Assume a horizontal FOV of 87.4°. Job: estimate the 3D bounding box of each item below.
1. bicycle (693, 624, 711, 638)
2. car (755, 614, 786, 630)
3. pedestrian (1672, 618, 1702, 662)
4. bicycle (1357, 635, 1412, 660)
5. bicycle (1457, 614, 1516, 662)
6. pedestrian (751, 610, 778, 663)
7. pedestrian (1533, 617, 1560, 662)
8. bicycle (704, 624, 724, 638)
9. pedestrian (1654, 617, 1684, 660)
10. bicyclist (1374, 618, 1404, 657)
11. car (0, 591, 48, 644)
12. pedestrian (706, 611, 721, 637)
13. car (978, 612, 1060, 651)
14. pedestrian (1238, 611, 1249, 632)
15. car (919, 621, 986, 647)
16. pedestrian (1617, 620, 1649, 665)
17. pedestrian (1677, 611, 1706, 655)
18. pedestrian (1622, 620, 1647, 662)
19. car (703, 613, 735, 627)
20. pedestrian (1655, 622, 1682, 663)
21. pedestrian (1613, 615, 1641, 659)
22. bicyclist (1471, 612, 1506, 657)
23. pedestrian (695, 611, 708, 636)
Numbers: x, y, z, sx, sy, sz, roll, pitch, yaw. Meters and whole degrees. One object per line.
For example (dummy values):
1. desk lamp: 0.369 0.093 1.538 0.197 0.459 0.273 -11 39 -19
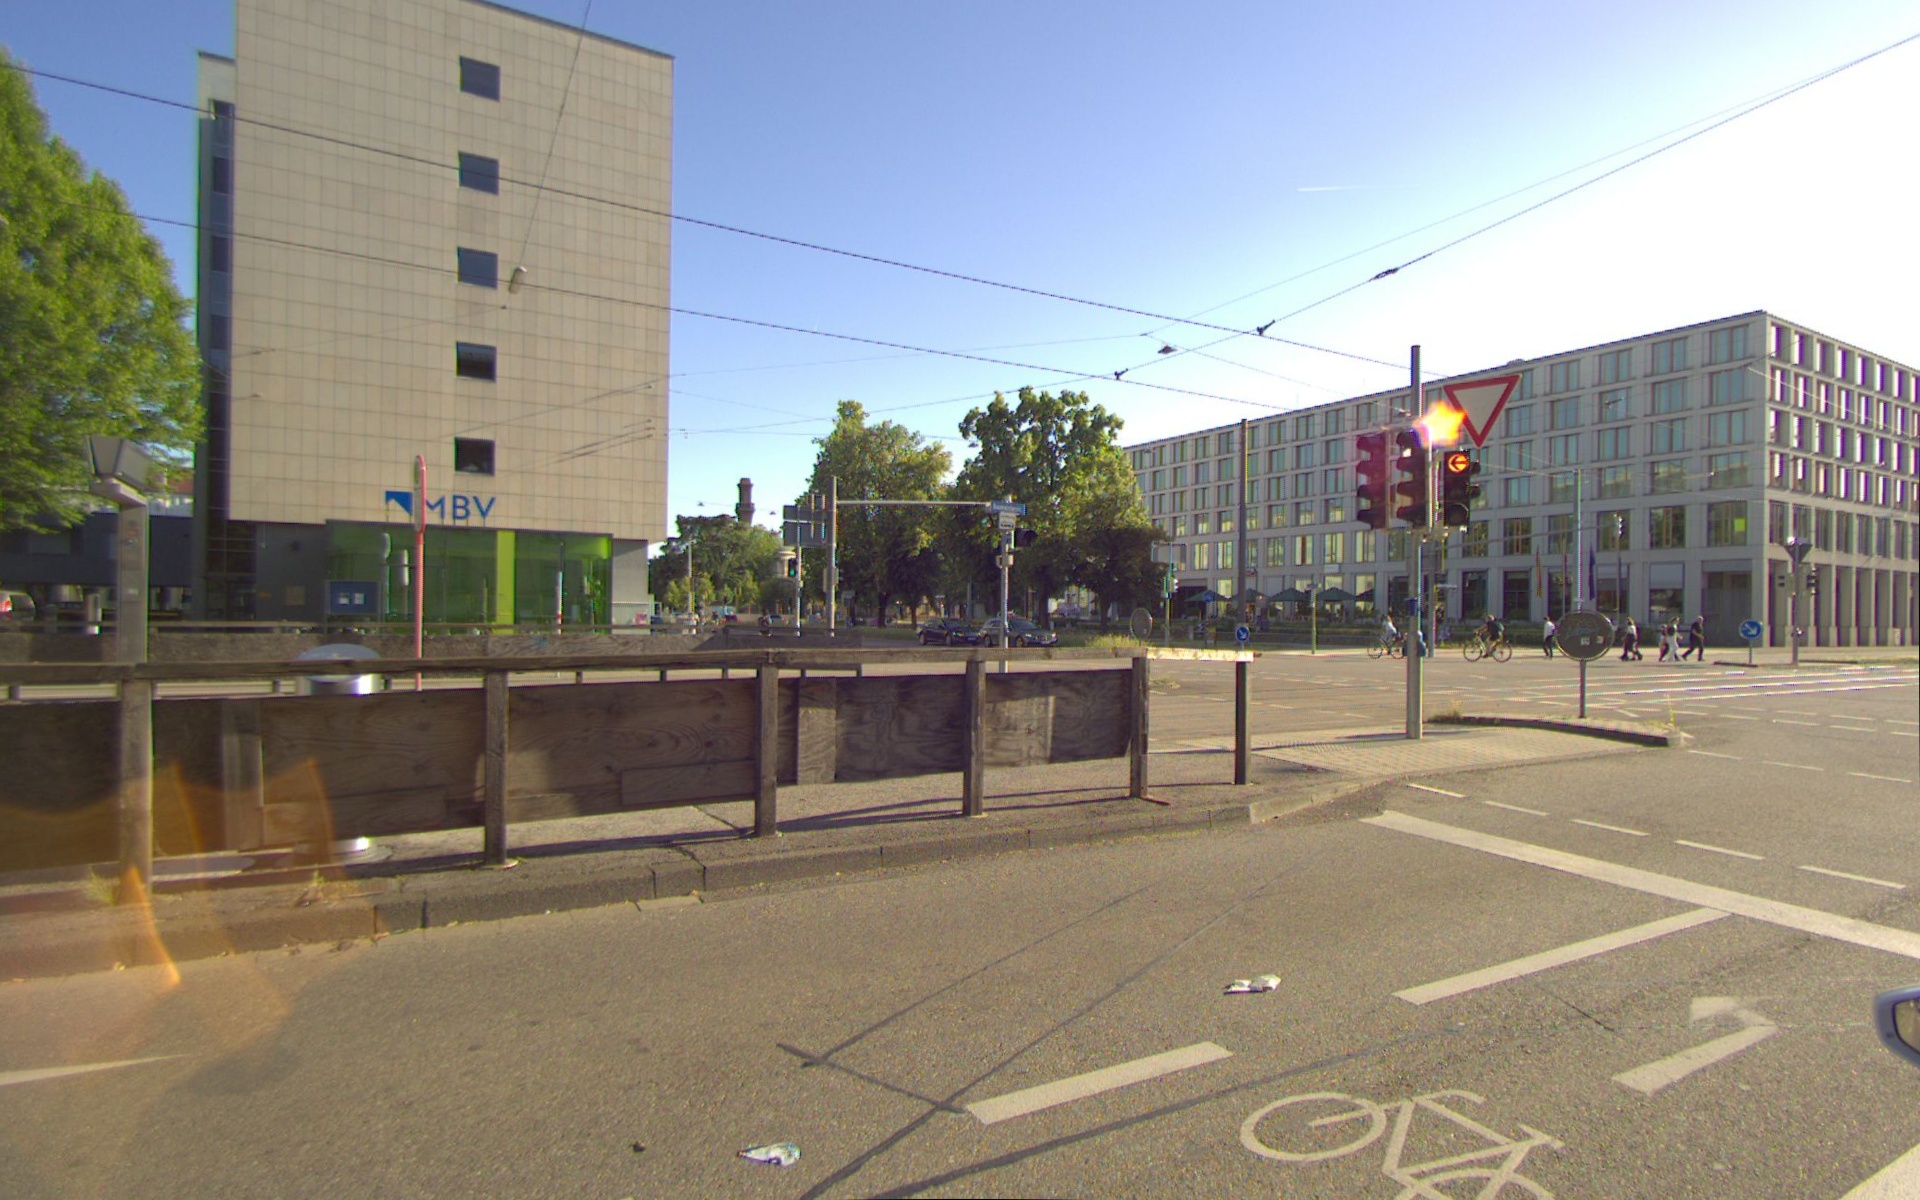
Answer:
1. bicycle: -18.373 2.185 71.469 0.669 0.973 2.131 1 -1 -32
2. car: -18.393 2.161 97.197 1.614 1.452 4.021 3 -2 -31
3. pedestrian: 30.021 1.643 41.496 0.525 1.827 0.867 1 -1 -24
4. bicycle: 17.485 1.948 41.373 0.570 0.945 2.046 1 -1 -41
5. bicycle: 19.686 1.401 37.561 1.877 1.758 0.593 0 -1 43
6. pedestrian: -6.591 1.222 33.856 0.814 1.739 0.757 1 -1 -18
7. pedestrian: 25.749 1.743 44.117 0.628 1.943 0.800 1 -1 -24
8. bicycle: -17.710 2.224 72.345 0.818 0.973 2.132 1 -1 -31
9. pedestrian: 27.420 1.477 38.849 0.615 1.666 0.787 1 -1 -34
10. bicyclist: 17.611 1.524 41.248 0.571 1.581 0.965 1 -1 -45
11. car: -27.733 0.447 27.755 3.371 1.431 1.562 2 0 -20
12. pedestrian: -17.780 1.713 72.484 0.818 1.829 0.754 1 -1 -31
13. car: 2.751 1.471 47.791 1.829 1.602 4.496 1 1 -28
14. pedestrian: 23.357 1.796 82.769 0.556 1.691 0.537 2 0 -33
15. car: -0.431 1.779 53.329 1.755 1.311 4.209 1 -1 -30
16. pedestrian: 27.631 1.748 41.226 0.654 1.827 0.868 1 -1 -24
17. pedestrian: 30.062 1.356 41.279 0.668 1.784 0.746 2 -2 -25
18. pedestrian: 29.636 1.776 44.157 0.525 1.827 0.737 1 -1 -24
19. car: -26.417 2.171 109.939 1.978 1.433 4.710 4 -2 -31
20. pedestrian: 28.883 1.728 40.951 0.614 1.666 0.691 1 -1 -29
21. pedestrian: 28.533 1.575 42.963 0.706 1.827 0.737 1 -1 -24
22. bicyclist: 19.736 1.285 37.508 1.063 1.662 0.594 0 -1 43
23. pedestrian: -18.431 1.687 71.584 0.666 1.739 0.754 1 -1 -32
